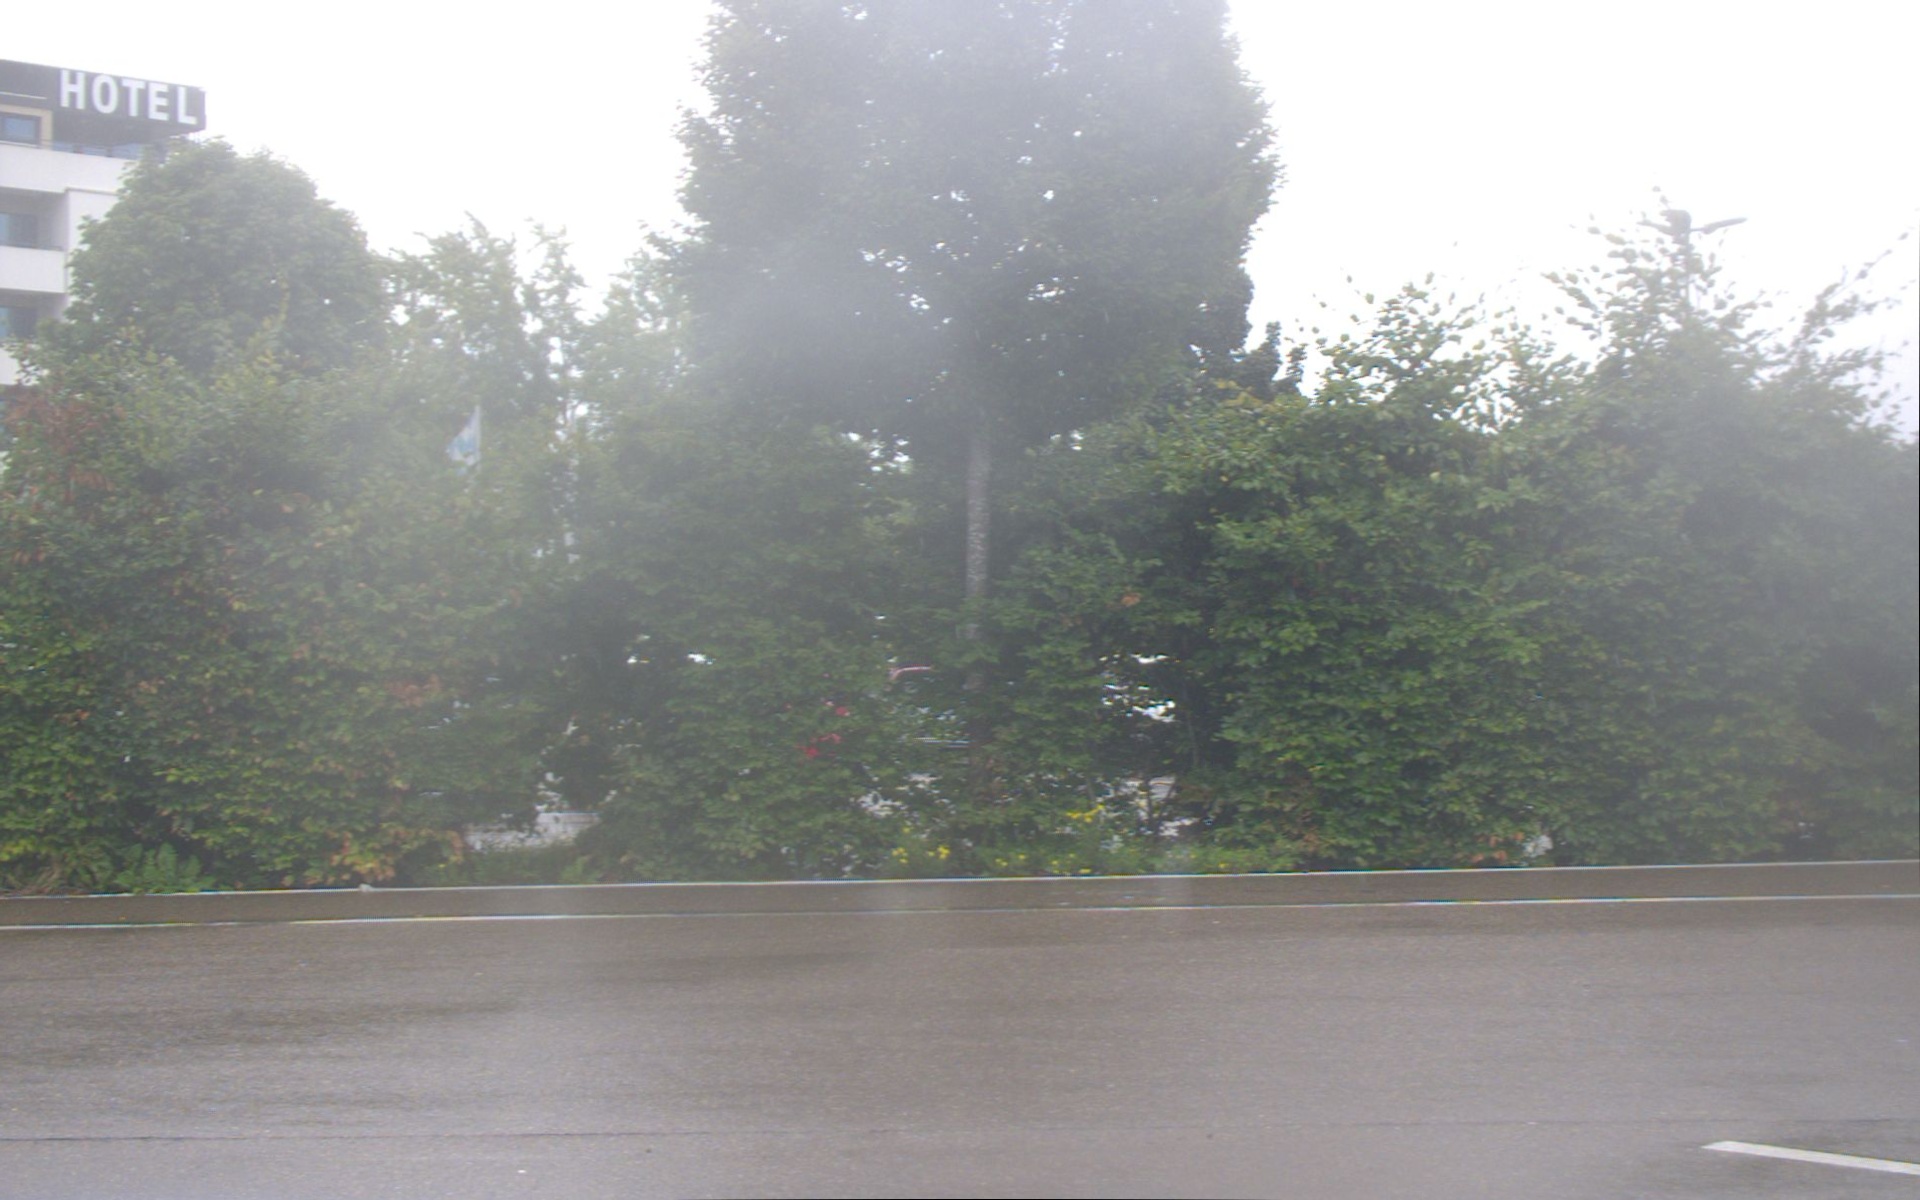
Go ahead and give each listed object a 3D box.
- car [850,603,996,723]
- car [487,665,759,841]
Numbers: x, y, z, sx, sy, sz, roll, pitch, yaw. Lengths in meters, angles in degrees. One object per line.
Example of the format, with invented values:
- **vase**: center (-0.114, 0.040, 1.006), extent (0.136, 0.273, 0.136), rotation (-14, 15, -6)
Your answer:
- **car**: center (-0.513, 0.926, 51.212), extent (1.794, 1.687, 4.048), rotation (-1, -1, 4)
- **car**: center (-3.097, 1.385, 32.527), extent (1.880, 1.467, 4.768), rotation (-1, -1, 3)
